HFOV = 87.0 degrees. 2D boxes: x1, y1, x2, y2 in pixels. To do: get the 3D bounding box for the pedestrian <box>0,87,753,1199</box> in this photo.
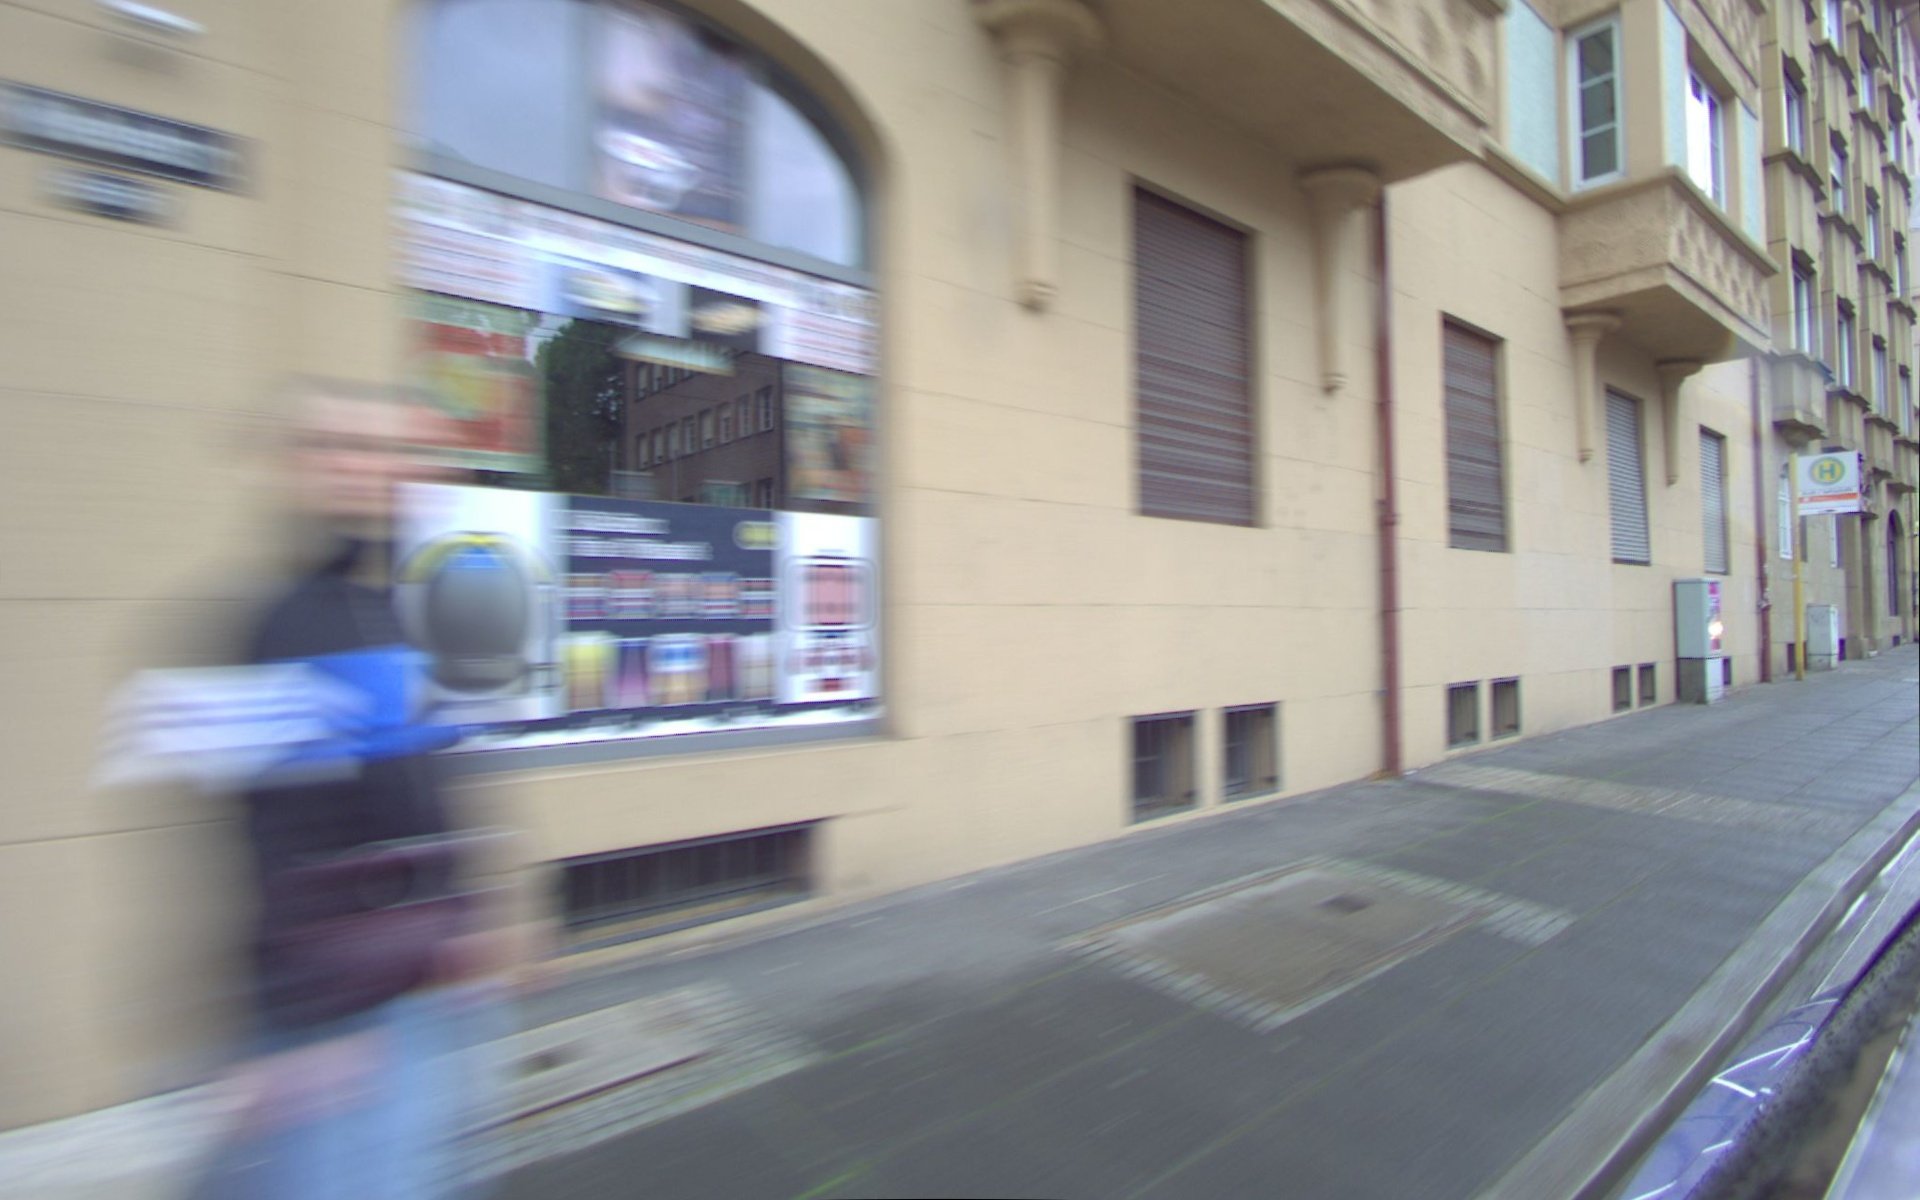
[{"bbox_3d":[-0.889,0.402,1.489,0.950,1.863,0.902,1,2,2],"label":"pedestrian"}]
